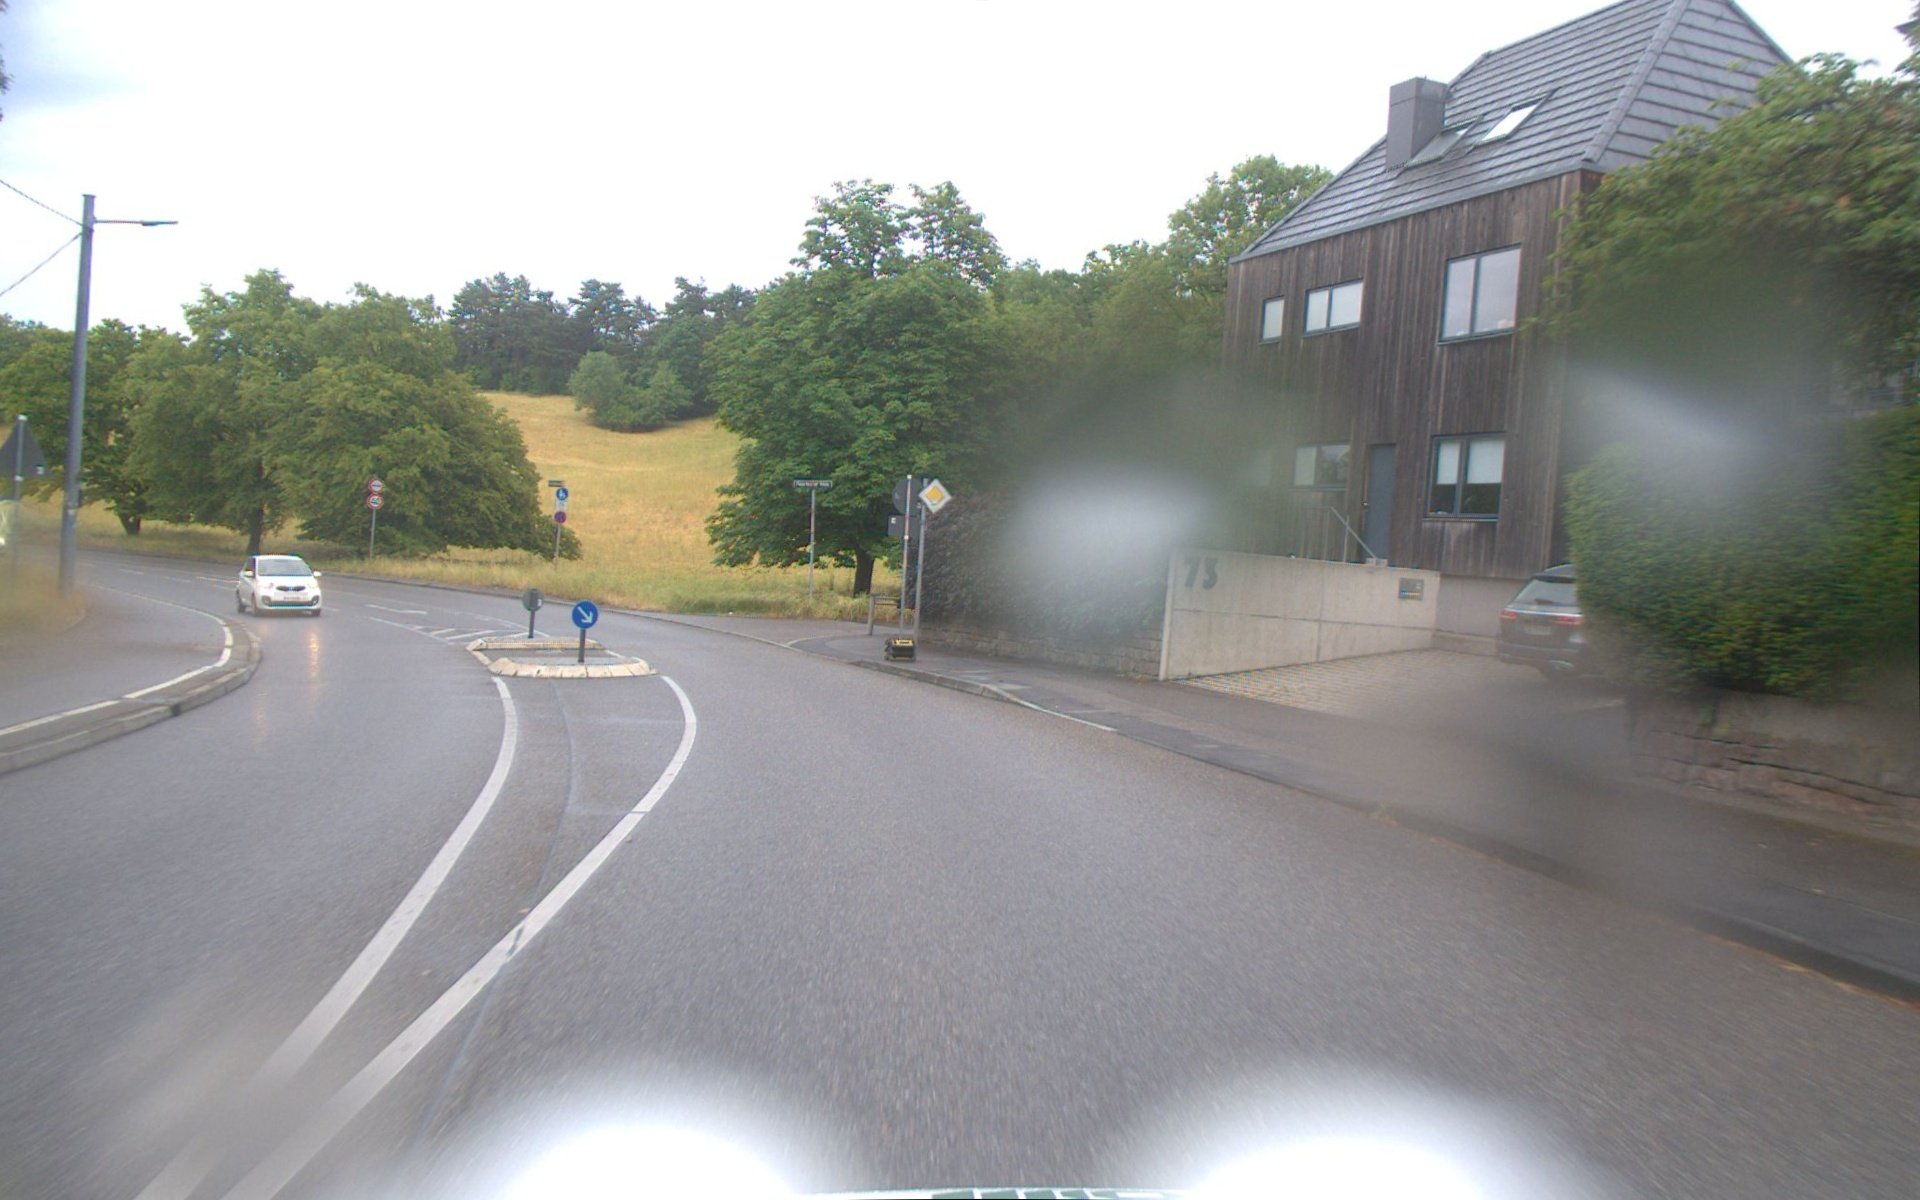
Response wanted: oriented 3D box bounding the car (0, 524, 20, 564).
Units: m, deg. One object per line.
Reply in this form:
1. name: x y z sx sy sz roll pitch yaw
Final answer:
1. car: -42.295 -2.476 71.641 1.806 1.623 3.937 0 3 -44

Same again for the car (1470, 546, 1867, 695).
1. car: 8.785 0.182 20.540 4.489 1.556 1.800 -3 3 -19

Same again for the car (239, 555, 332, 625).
1. car: -17.408 -0.305 42.574 1.774 1.511 3.964 -1 5 -29
